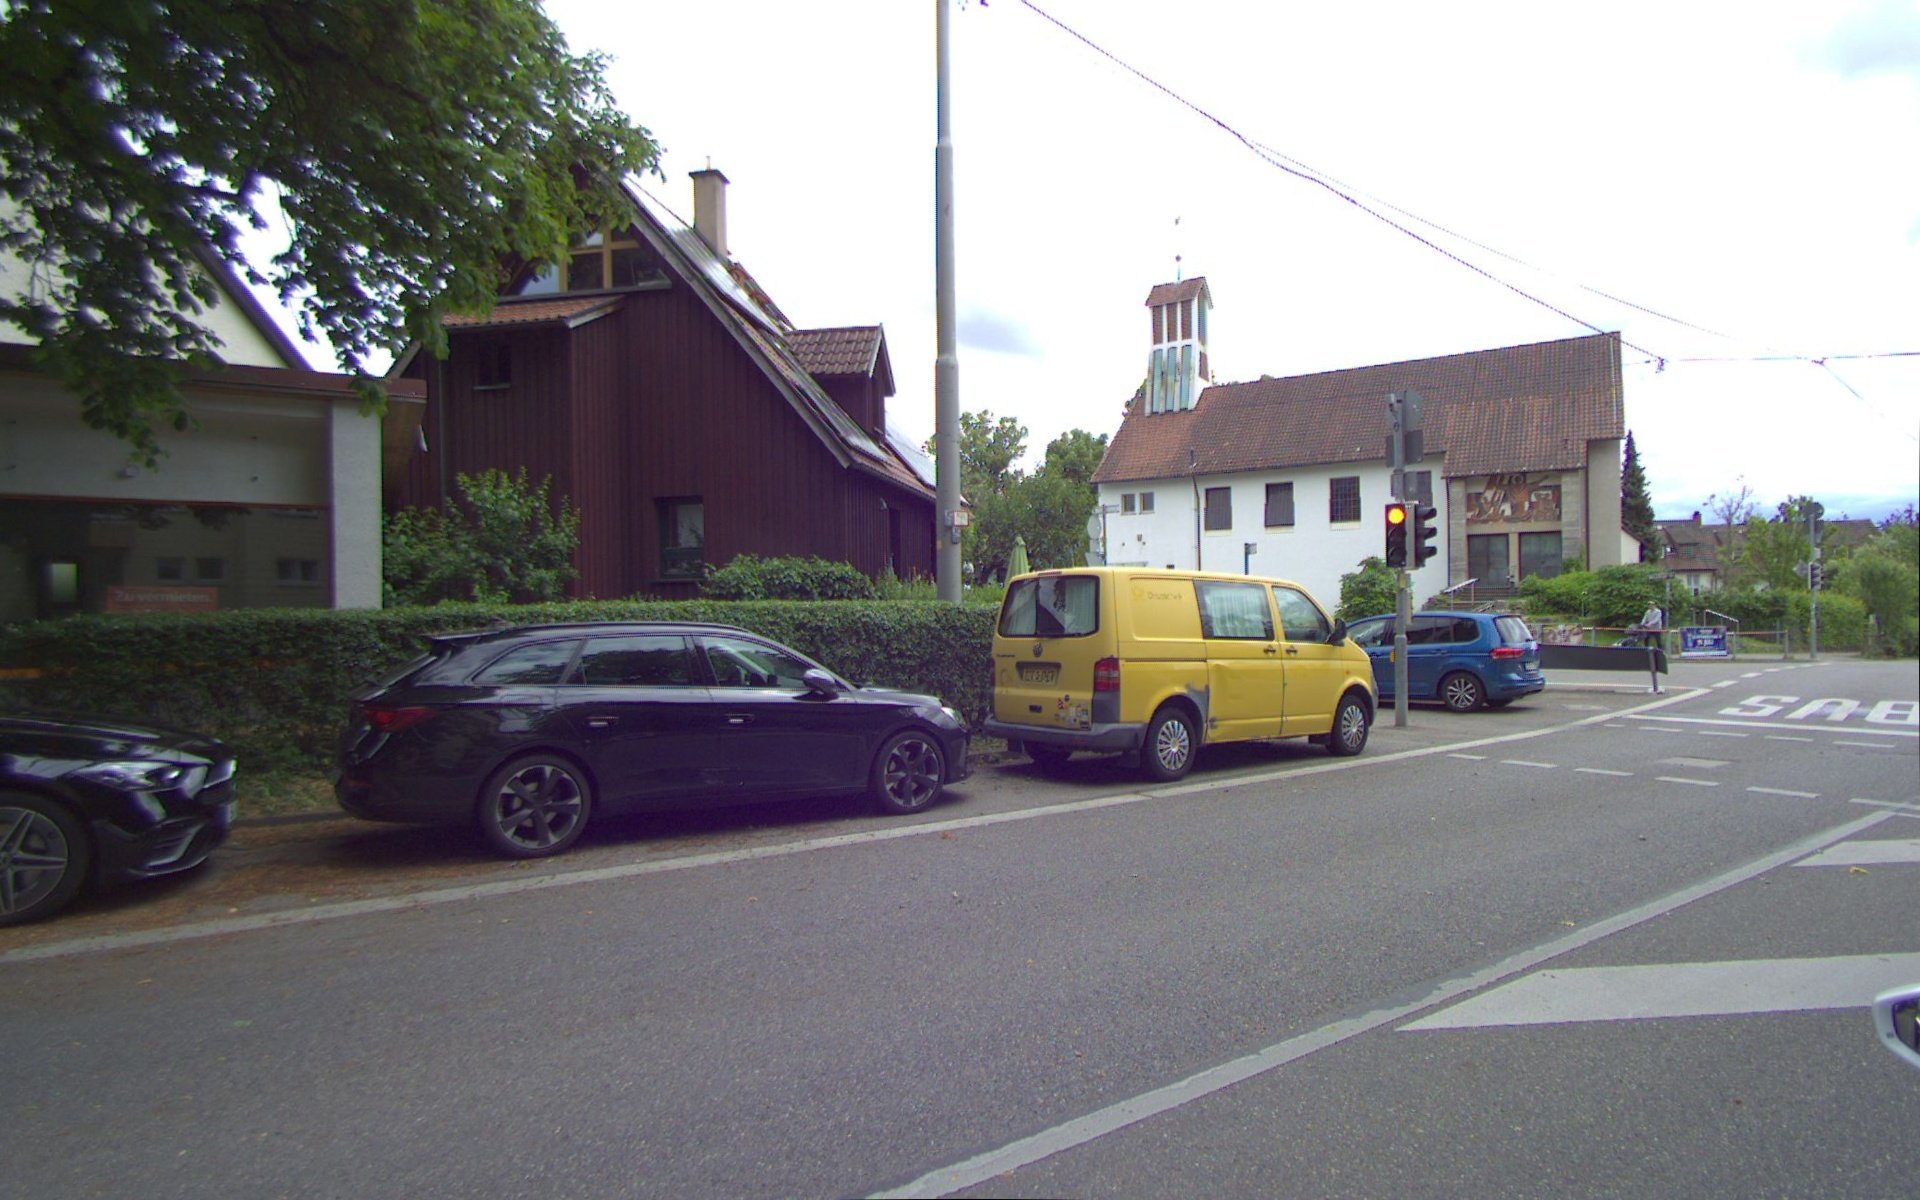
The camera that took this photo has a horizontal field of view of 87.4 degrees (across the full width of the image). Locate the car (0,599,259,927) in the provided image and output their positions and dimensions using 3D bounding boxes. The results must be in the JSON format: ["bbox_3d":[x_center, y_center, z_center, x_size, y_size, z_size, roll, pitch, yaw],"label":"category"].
[{"bbox_3d":[-6.213,0.763,4.755,4.561,1.520,1.984,1,-2,-31],"label":"car"}]

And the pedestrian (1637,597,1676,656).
[{"bbox_3d":[22.446,0.842,32.373,0.870,1.887,0.574,0,-1,-6],"label":"pedestrian"}]

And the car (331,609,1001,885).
[{"bbox_3d":[-1.996,0.846,7.439,4.494,1.505,1.681,1,-2,-34],"label":"car"}]

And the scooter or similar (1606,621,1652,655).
[{"bbox_3d":[21.462,1.214,32.233,1.090,1.095,0.577,0,-1,-7],"label":"scooter or similar"}]

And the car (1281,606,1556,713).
[{"bbox_3d":[7.815,0.991,17.365,1.806,1.632,3.948,1,-3,-44],"label":"car"}]

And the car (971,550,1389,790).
[{"bbox_3d":[2.462,0.647,10.683,4.523,2.040,1.870,1,-2,-37],"label":"car"}]
